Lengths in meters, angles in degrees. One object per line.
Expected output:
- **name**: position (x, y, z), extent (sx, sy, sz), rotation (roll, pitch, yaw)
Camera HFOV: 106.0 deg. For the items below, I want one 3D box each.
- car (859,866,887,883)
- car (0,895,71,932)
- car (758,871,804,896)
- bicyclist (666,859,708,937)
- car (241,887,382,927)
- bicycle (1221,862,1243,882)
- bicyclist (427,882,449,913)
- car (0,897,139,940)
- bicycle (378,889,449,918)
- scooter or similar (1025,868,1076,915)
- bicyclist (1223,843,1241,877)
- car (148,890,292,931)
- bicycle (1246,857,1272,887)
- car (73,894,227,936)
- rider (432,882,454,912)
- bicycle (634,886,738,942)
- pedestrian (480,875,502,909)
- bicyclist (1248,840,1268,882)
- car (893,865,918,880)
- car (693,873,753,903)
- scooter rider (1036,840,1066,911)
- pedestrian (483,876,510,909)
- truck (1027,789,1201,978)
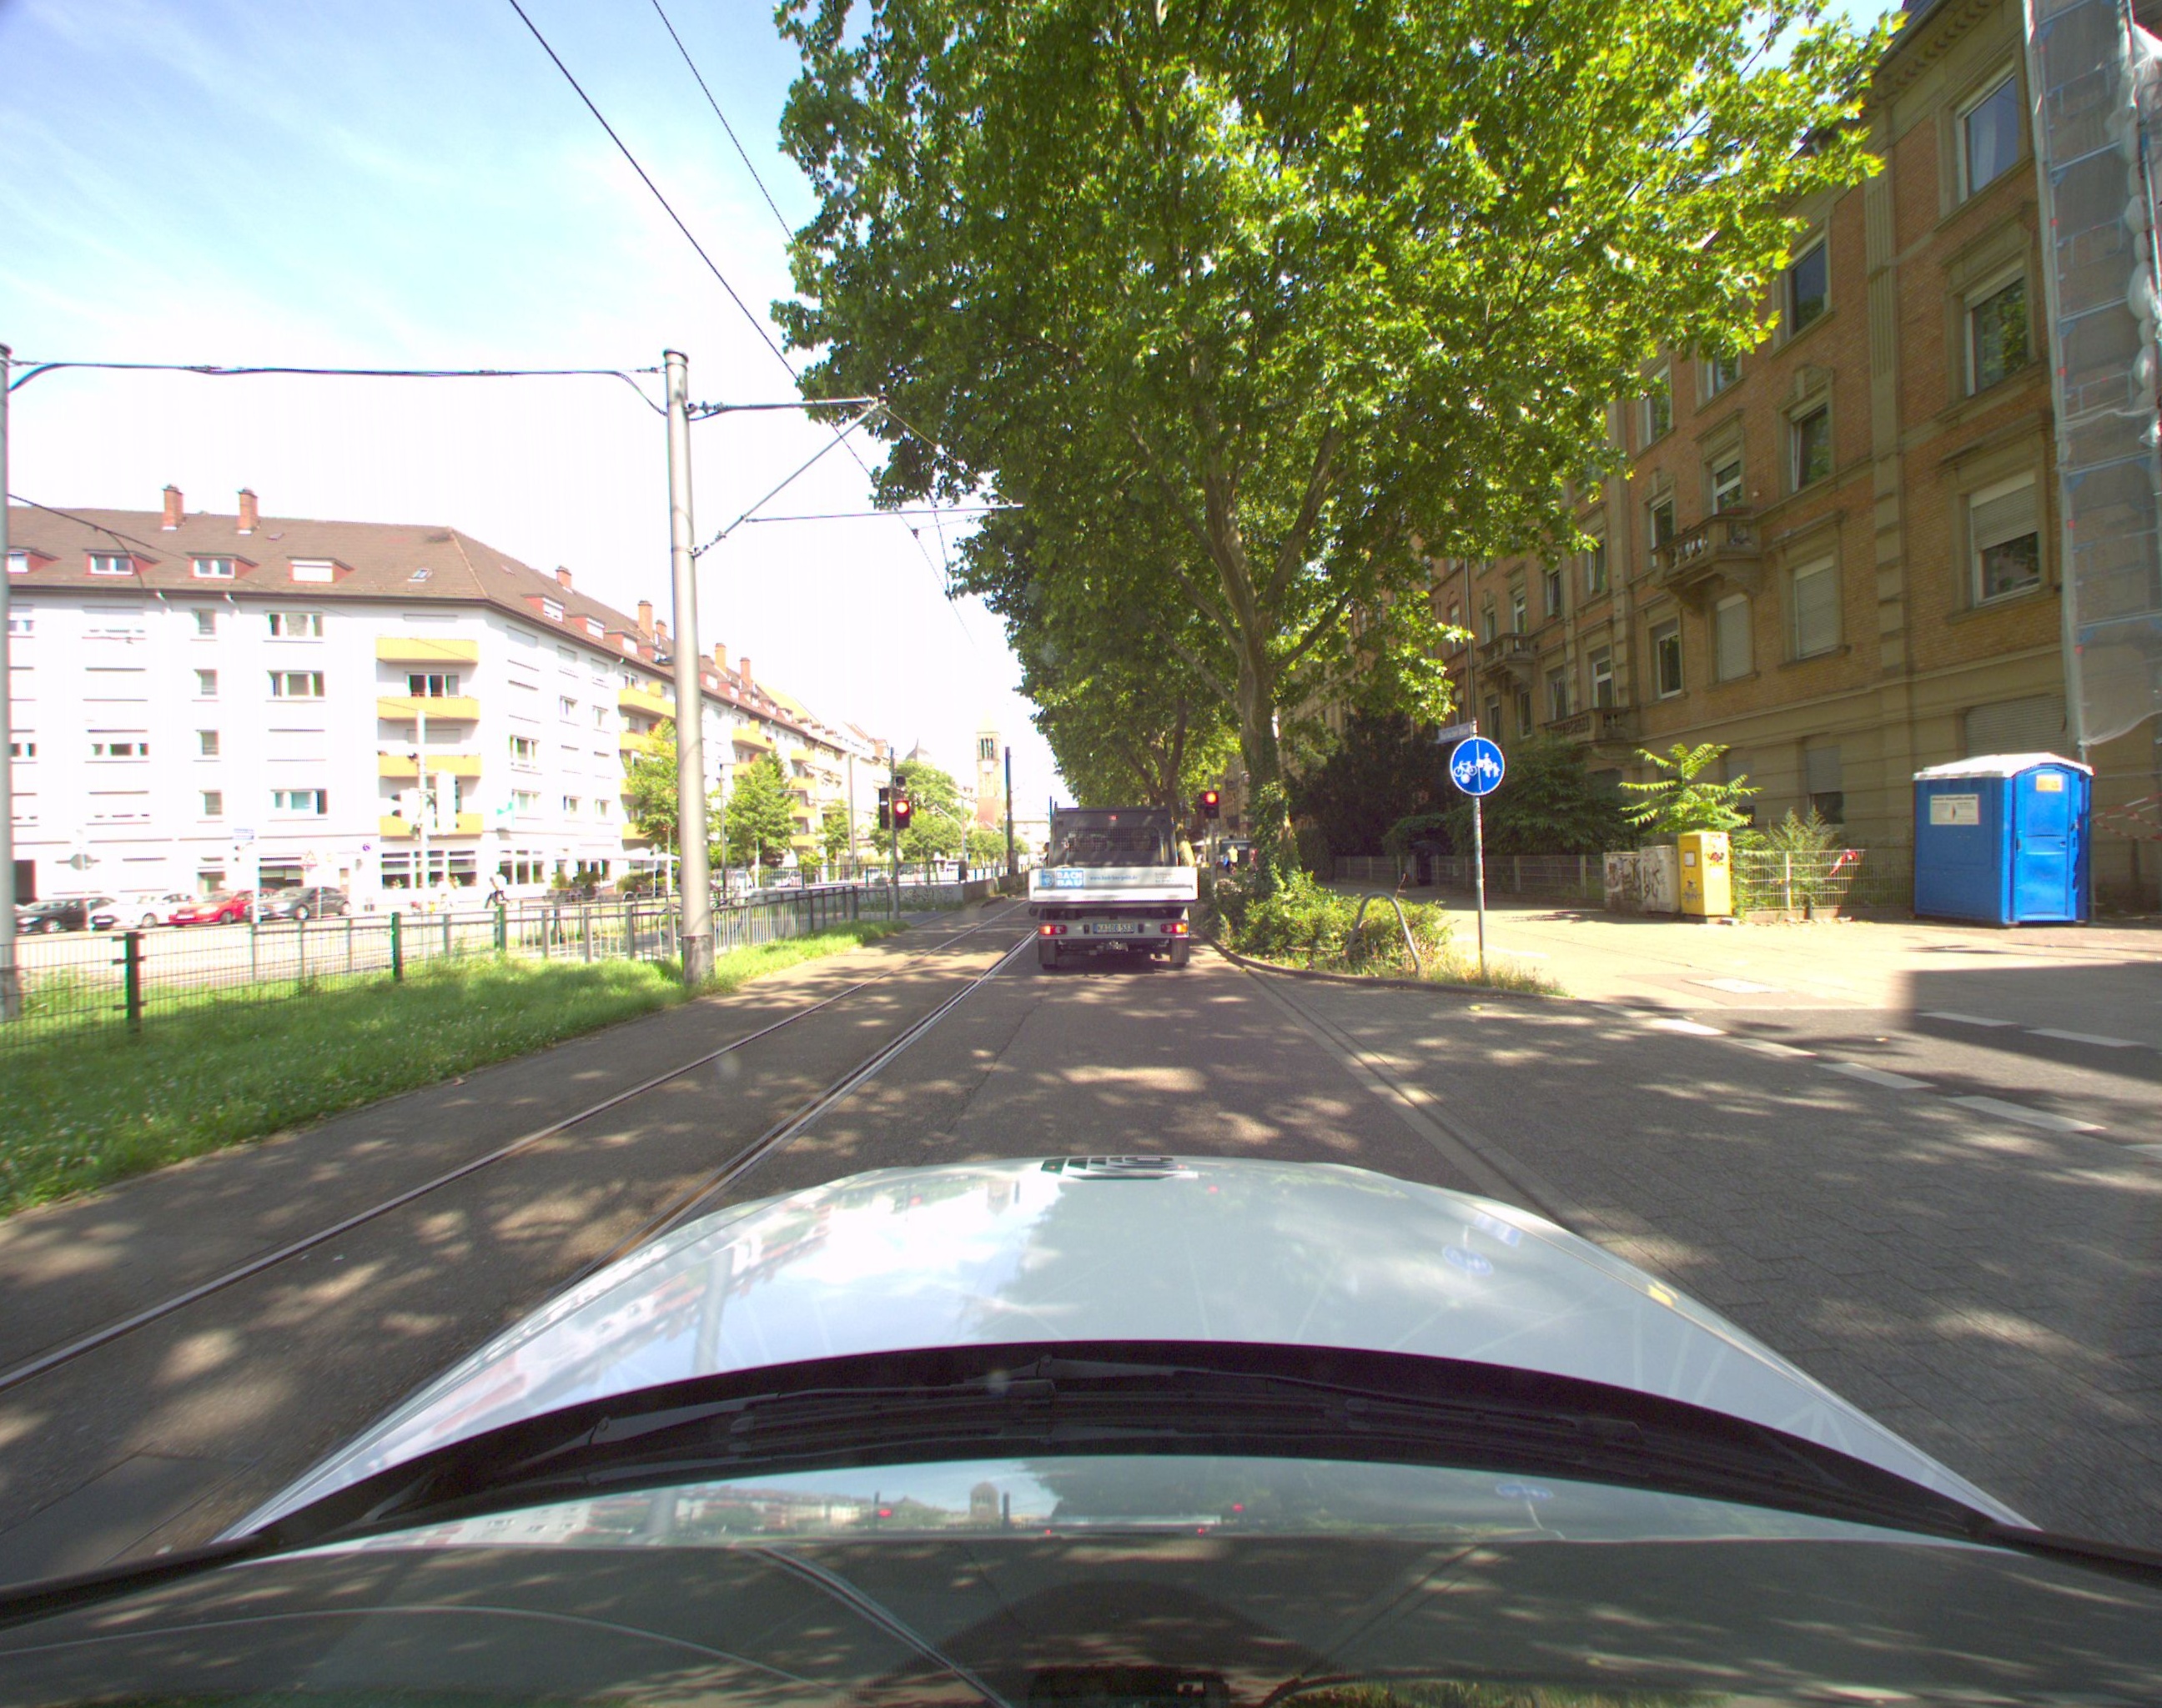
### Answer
- **car**: position (-19.525, 1.920, 76.668), extent (1.767, 1.498, 3.994), rotation (-2, 0, -4)
- **car**: position (-44.528, 2.478, 33.095), extent (1.930, 1.406, 4.158), rotation (-2, 0, -6)
- **car**: position (-20.218, 1.970, 55.091), extent (1.767, 1.498, 3.994), rotation (-4, 0, -4)
- **bicyclist**: position (-8.529, 0.939, 17.610), extent (0.698, 1.623, 0.618), rotation (-1, -1, -36)
- **car**: position (-33.054, 2.244, 35.205), extent (1.830, 1.376, 4.636), rotation (-2, 0, -4)
- **bicycle**: position (7.048, 0.825, 38.077), extent (0.672, 0.881, 2.165), rotation (-2, 0, 3)
- **bicyclist**: position (-30.455, 2.065, 38.569), extent (0.624, 1.423, 0.587), rotation (-2, -1, -15)
- **car**: position (-41.749, 2.599, 33.248), extent (1.930, 1.406, 4.157), rotation (-2, 0, -6)
- **bicycle**: position (-29.991, 2.217, 36.672), extent (0.908, 1.137, 2.806), rotation (-2, 0, -2)
- **scooter or similar**: position (-0.814, 0.990, 21.835), extent (1.260, 1.204, 0.658), rotation (-2, -1, 4)
- **bicyclist**: position (7.029, 0.288, 37.961), extent (0.678, 1.563, 0.777), rotation (-2, -1, 2)
- **car**: position (-36.411, 2.360, 34.628), extent (1.930, 1.406, 4.157), rotation (-2, 0, -6)
- **bicycle**: position (6.857, 0.683, 31.494), extent (0.563, 1.112, 2.312), rotation (-2, 0, 3)
- **car**: position (-39.195, 2.539, 34.455), extent (1.930, 1.406, 4.157), rotation (-2, 0, -6)
- **rider**: position (-30.658, 2.067, 39.141), extent (0.624, 1.423, 0.587), rotation (-2, -1, -15)
- **bicycle**: position (-8.509, 1.268, 17.597), extent (1.934, 1.049, 0.527), rotation (-2, -1, -36)
- **pedestrian**: position (-28.148, 1.826, 38.863), extent (0.690, 1.572, 0.542), rotation (-2, -1, -23)
- **bicyclist**: position (6.845, 0.260, 31.554), extent (0.635, 1.573, 0.580), rotation (-2, -1, 3)
- **car**: position (-19.404, 2.015, 90.248), extent (1.764, 1.498, 4.000), rotation (-2, 0, 0)
- **car**: position (-20.436, 1.914, 46.658), extent (1.767, 1.498, 3.994), rotation (-4, 0, -4)
- **scooter rider**: position (-0.797, 0.569, 21.849), extent (0.664, 1.867, 0.665), rotation (-2, -1, 5)
- **pedestrian**: position (-28.320, 1.849, 39.477), extent (0.861, 1.572, 0.685), rotation (-2, -1, -23)
- **truck**: position (0.504, 0.369, 12.211), extent (2.130, 2.319, 4.404), rotation (0, 0, 3)
